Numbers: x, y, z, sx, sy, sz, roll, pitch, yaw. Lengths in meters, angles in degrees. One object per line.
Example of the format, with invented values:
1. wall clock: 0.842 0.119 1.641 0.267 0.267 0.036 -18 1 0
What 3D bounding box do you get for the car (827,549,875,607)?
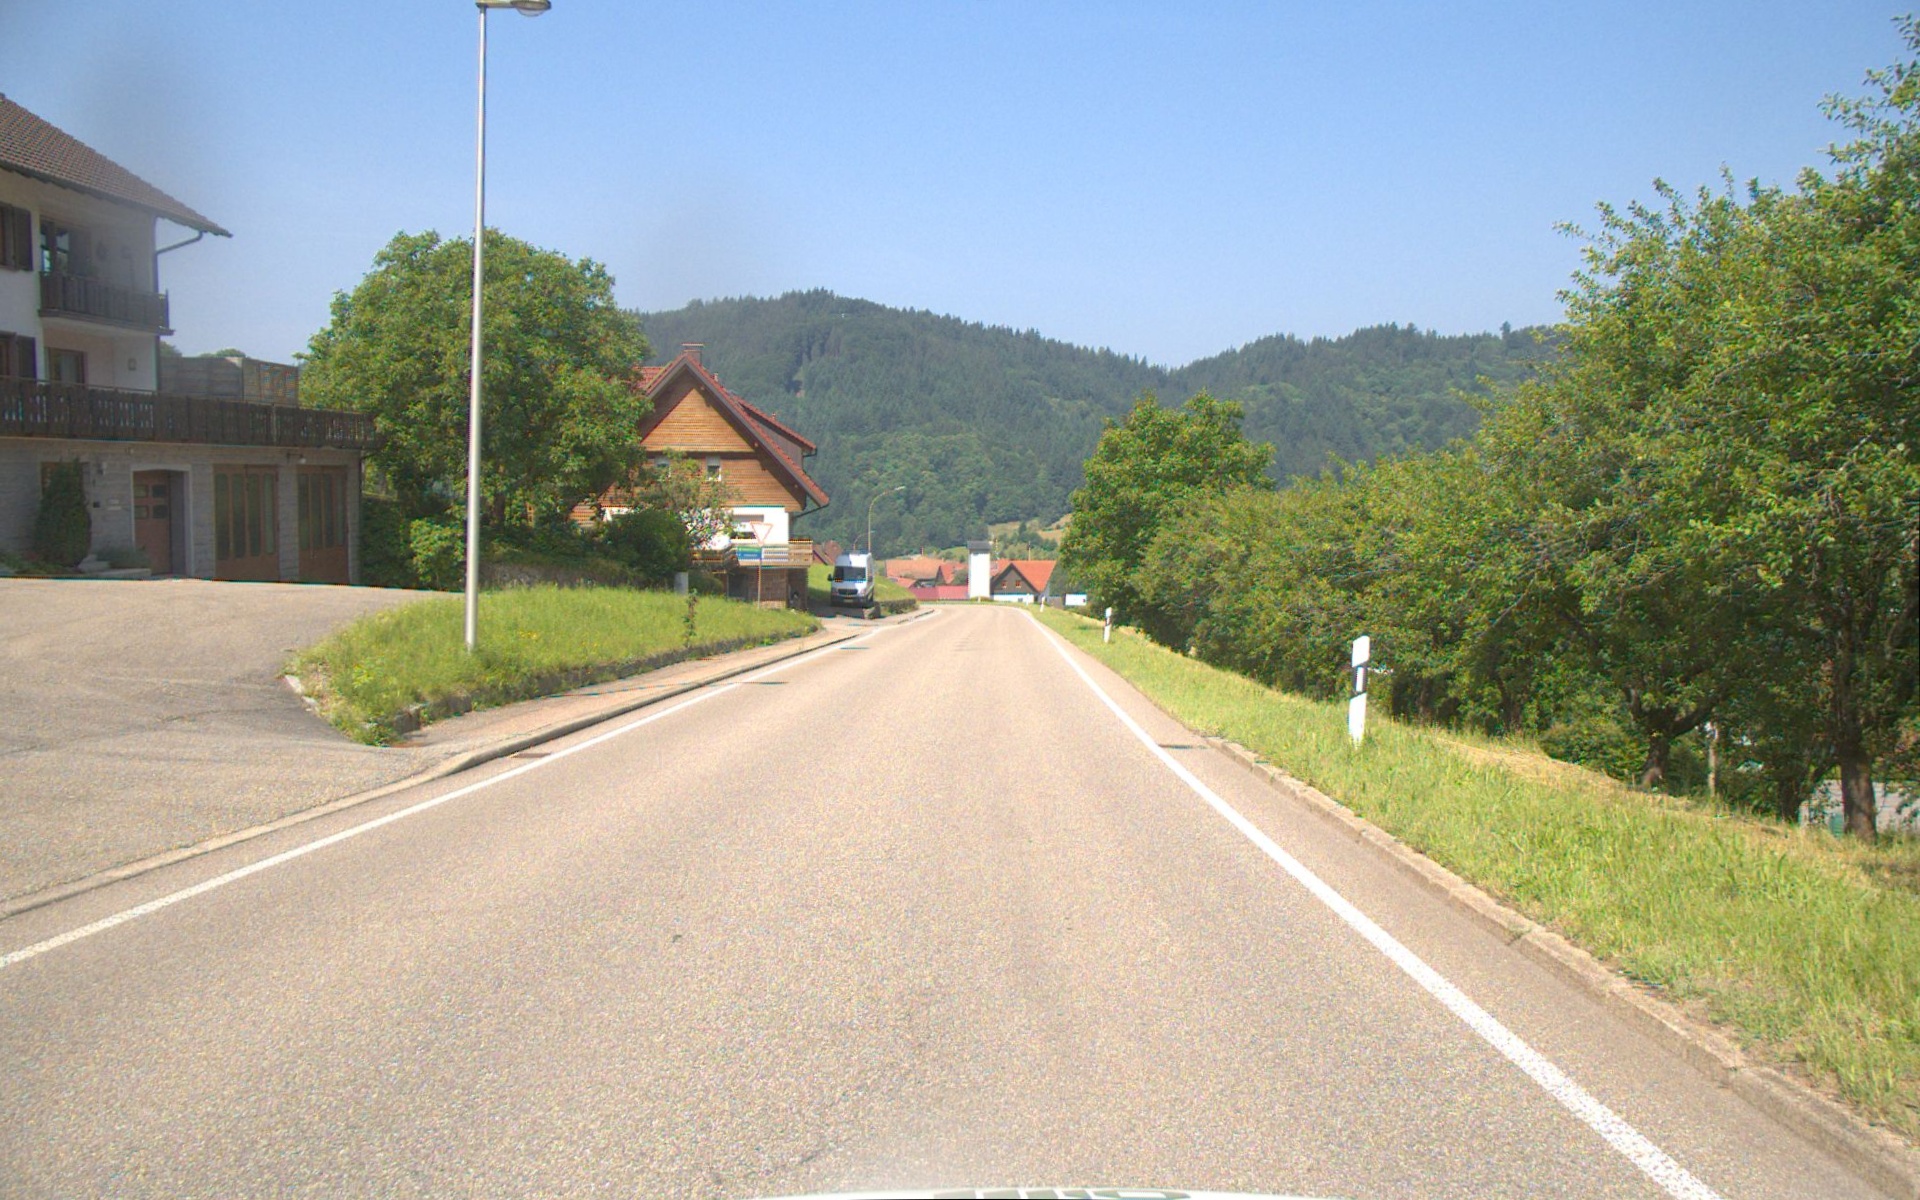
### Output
1. car: -5.769 -1.238 88.313 2.025 2.734 7.177 0 4 1
